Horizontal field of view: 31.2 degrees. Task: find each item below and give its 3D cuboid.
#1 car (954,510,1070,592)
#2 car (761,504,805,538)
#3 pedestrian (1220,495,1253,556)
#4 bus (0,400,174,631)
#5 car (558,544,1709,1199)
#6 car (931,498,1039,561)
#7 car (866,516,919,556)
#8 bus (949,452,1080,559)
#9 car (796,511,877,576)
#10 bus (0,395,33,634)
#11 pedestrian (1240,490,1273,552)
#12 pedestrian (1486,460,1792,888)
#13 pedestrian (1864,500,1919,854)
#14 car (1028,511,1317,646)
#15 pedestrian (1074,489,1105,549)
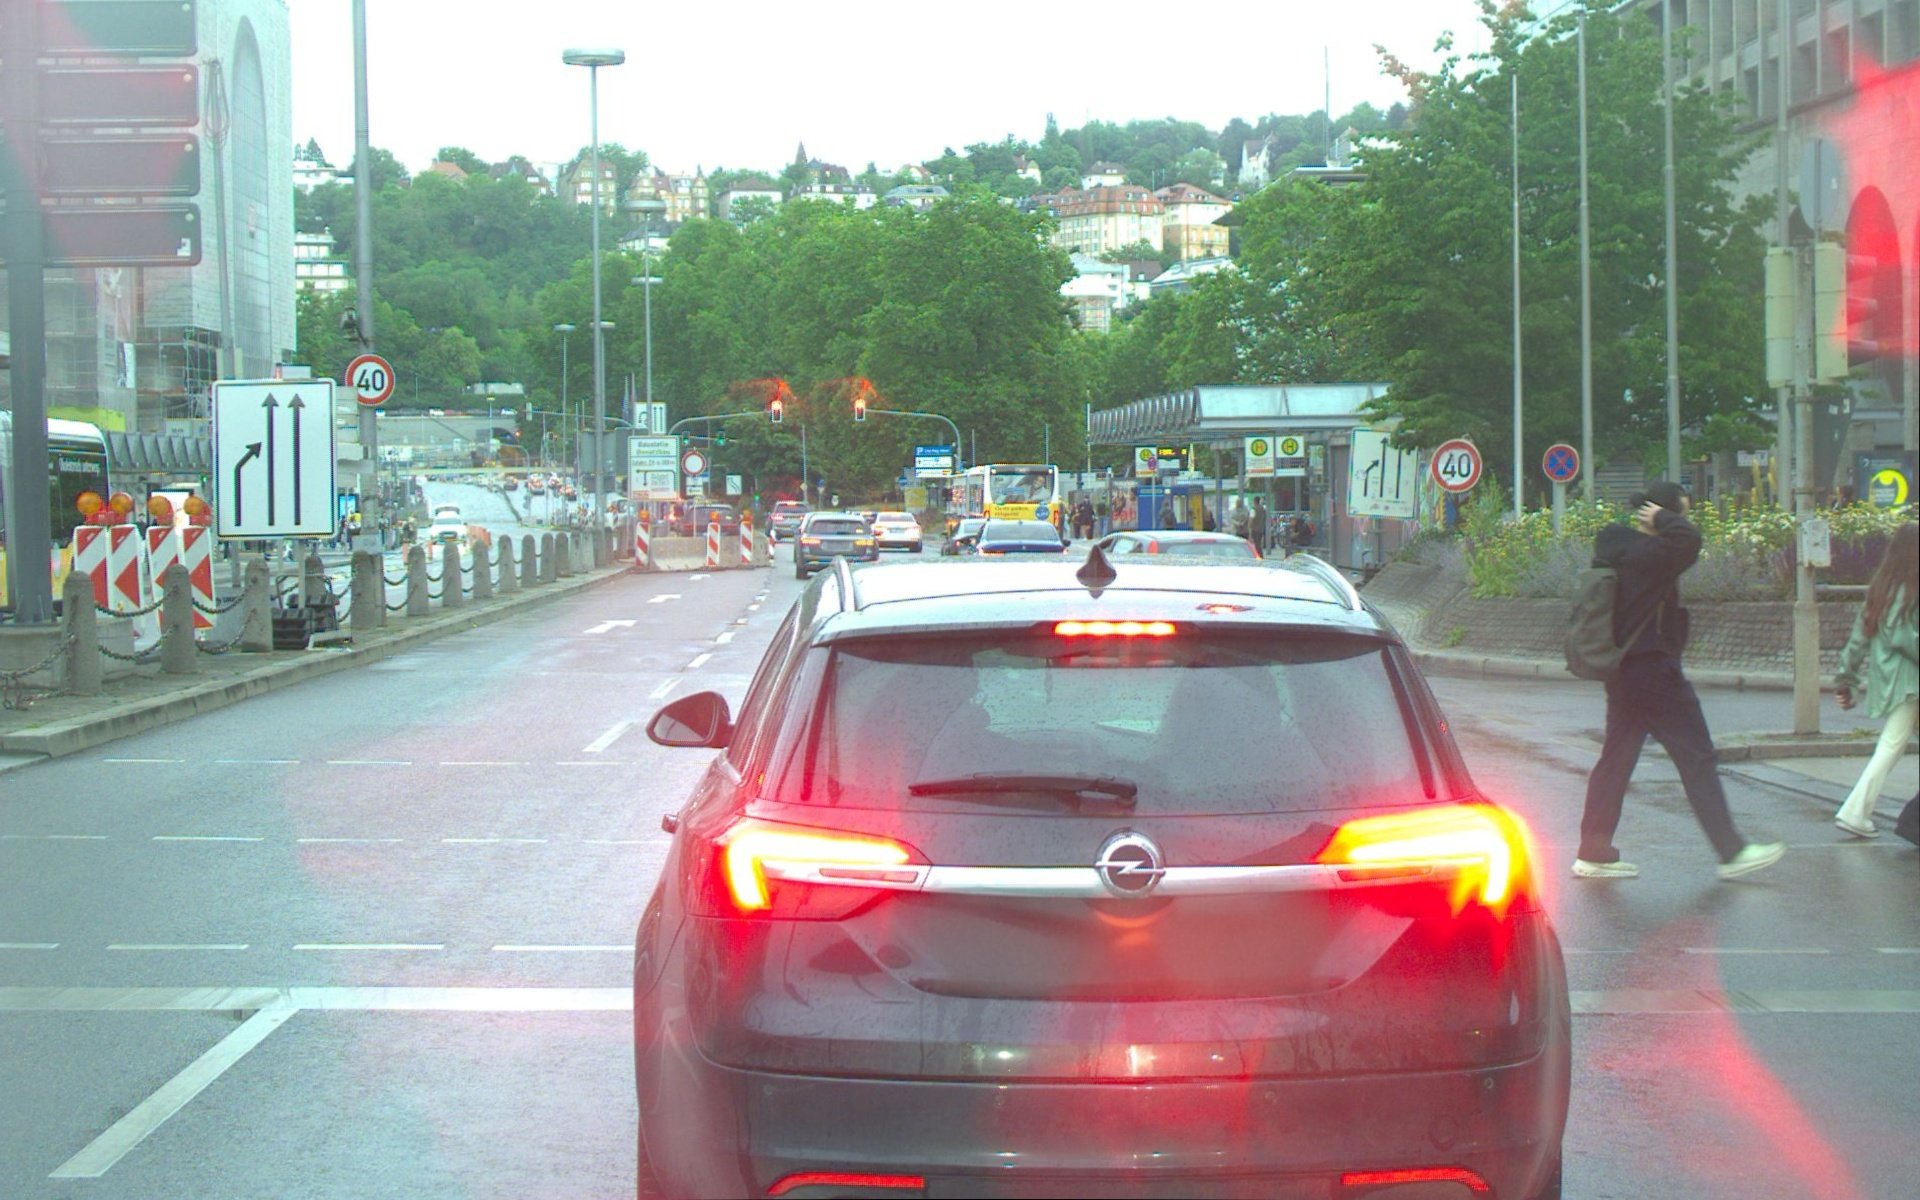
[{"bbox_3d":[0.907,-0.887,62.377,1.753,1.393,4.649,1,1,-3],"label":"car"},{"bbox_3d":[-7.719,-3.429,149.887,1.759,1.393,3.564,1,1,-1],"label":"car"},{"bbox_3d":[7.680,-2.064,95.422,0.763,1.684,0.825,1,1,-5],"label":"pedestrian"},{"bbox_3d":[-15.855,-1.398,58.529,2.668,3.589,10.212,1,1,-1],"label":"bus"},{"bbox_3d":[0.245,0.637,7.641,1.874,1.481,4.000,1,1,-1],"label":"car"},{"bbox_3d":[0.540,-1.615,79.417,1.752,1.393,4.403,1,1,-10],"label":"car"},{"bbox_3d":[-2.409,-2.307,123.661,1.845,1.393,3.564,1,1,-1],"label":"car"},{"bbox_3d":[1.781,-3.211,120.869,4.173,3.457,14.655,1,1,-1],"label":"bus"},{"bbox_3d":[-2.793,-1.269,77.571,1.753,1.393,4.538,1,1,-2],"label":"car"},{"bbox_3d":[-15.728,-1.261,48.344,2.668,3.589,10.240,1,1,-1],"label":"bus"},{"bbox_3d":[8.131,-2.167,94.236,0.763,1.684,0.825,1,1,-5],"label":"pedestrian"},{"bbox_3d":[2.892,0.305,14.704,1.096,1.745,0.654,-2,1,-3],"label":"pedestrian"},{"bbox_3d":[4.778,0.355,16.068,0.793,1.620,0.900,1,1,-4],"label":"pedestrian"},{"bbox_3d":[2.266,-0.251,37.651,1.845,1.393,3.668,1,1,-20],"label":"car"},{"bbox_3d":[5.245,-3.290,139.557,1.199,2.427,1.228,1,1,1],"label":"pedestrian"}]
